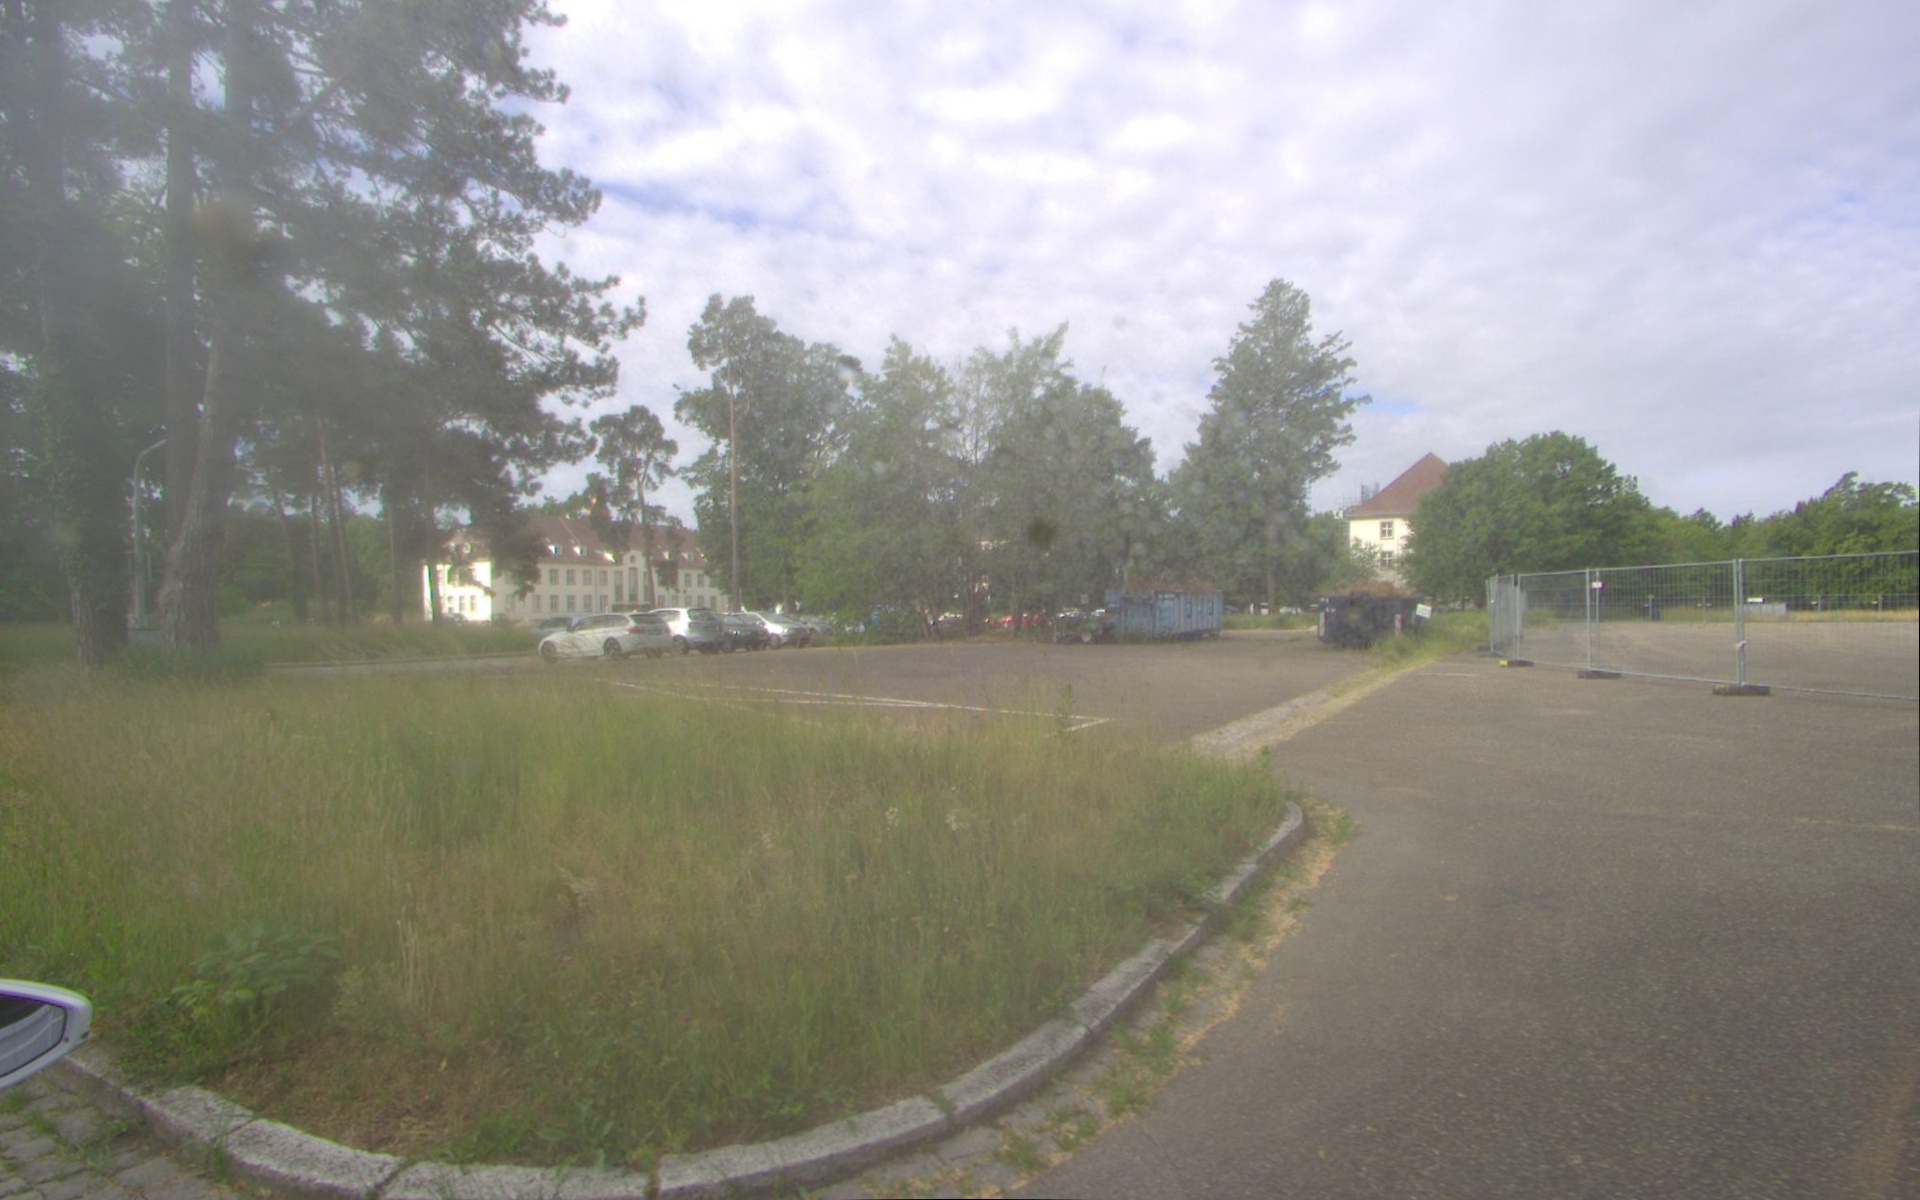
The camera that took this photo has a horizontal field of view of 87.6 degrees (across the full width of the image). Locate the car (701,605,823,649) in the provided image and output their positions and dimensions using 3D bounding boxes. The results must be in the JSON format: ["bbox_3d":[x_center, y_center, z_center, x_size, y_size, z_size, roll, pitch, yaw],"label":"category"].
[{"bbox_3d":[-7.520,1.006,38.016,4.378,1.598,1.865,-1,0,28],"label":"car"}]

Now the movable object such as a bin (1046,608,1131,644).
[{"bbox_3d":[4.099,0.813,32.055,2.504,1.098,1.060,1,1,30],"label":"movable object such as a bin"}]

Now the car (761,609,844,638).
[{"bbox_3d":[-8.763,1.314,55.613,4.378,1.544,1.751,-1,0,28],"label":"car"}]

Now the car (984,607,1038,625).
[{"bbox_3d":[4.062,1.259,79.785,3.936,1.373,1.657,-1,0,26],"label":"car"}]

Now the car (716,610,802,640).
[{"bbox_3d":[-10.724,1.314,53.413,4.378,1.544,1.751,-1,0,28],"label":"car"}]

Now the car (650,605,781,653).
[{"bbox_3d":[-8.686,0.994,35.506,4.378,1.598,1.865,-1,0,28],"label":"car"}]

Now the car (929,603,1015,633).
[{"bbox_3d":[0.656,1.005,55.389,4.379,1.598,1.865,-1,0,28],"label":"car"}]

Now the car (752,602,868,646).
[{"bbox_3d":[-6.023,0.944,40.183,4.378,1.708,1.865,-1,0,28],"label":"car"}]

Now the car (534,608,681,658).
[{"bbox_3d":[-10.815,1.004,30.683,4.379,1.434,1.751,-2,0,28],"label":"car"}]

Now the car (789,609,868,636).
[{"bbox_3d":[-7.697,1.308,58.617,4.378,1.544,1.751,-1,0,28],"label":"car"}]

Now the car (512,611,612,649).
[{"bbox_3d":[-17.123,1.253,42.994,4.384,1.544,1.748,-1,0,33],"label":"car"}]

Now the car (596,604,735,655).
[{"bbox_3d":[-9.730,0.943,33.043,4.378,1.598,1.865,-1,0,28],"label":"car"}]
